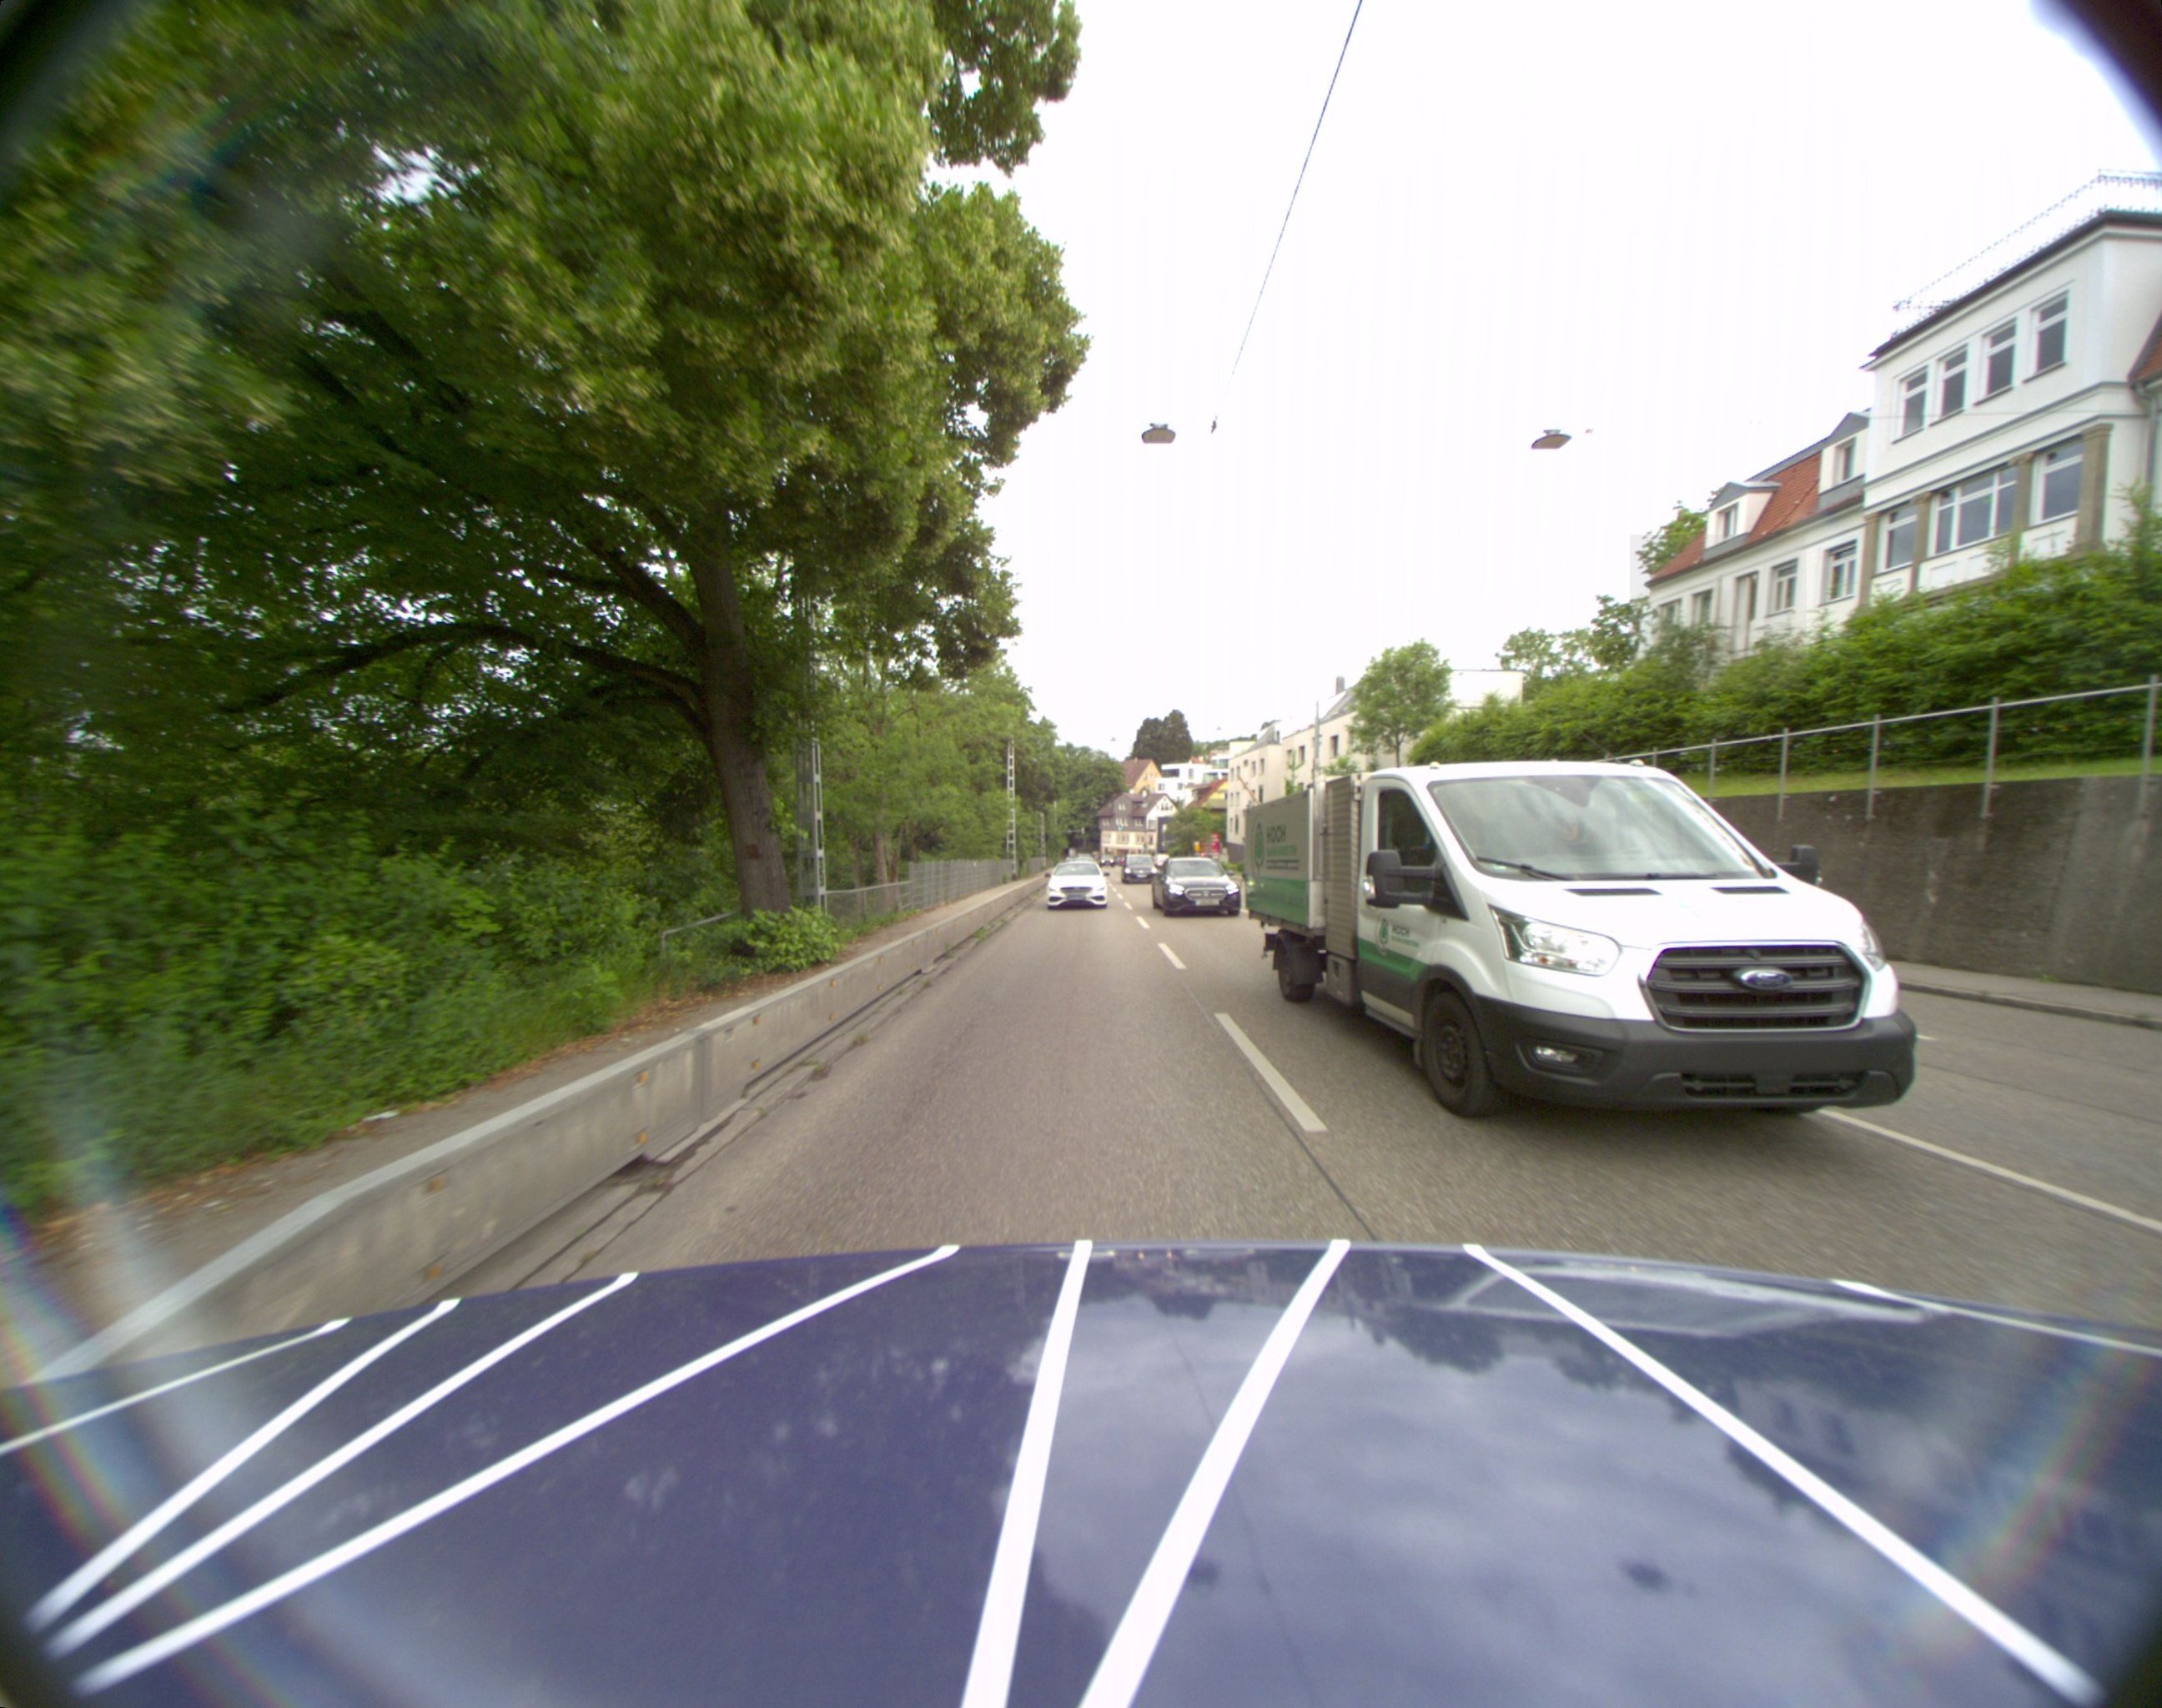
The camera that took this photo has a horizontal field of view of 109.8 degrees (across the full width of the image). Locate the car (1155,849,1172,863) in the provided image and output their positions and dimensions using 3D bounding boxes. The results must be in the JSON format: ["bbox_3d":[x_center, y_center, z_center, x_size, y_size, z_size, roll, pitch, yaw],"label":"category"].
[{"bbox_3d":[9.995,0.250,91.954,1.709,1.702,3.868,0,0,1],"label":"car"}]

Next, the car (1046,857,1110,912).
[{"bbox_3d":[-0.063,0.882,23.702,1.809,1.521,4.000,-1,1,1],"label":"car"}]

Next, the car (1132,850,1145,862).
[{"bbox_3d":[9.038,0.266,120.067,1.743,1.873,3.743,0,0,1],"label":"car"}]

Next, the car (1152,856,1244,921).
[{"bbox_3d":[3.007,0.831,20.356,1.878,1.521,4.335,0,1,1],"label":"car"}]

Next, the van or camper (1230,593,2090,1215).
[{"bbox_3d":[3.122,0.253,6.281,2.349,2.646,5.965,-1,-1,-2],"label":"van or camper"}]

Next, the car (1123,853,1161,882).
[{"bbox_3d":[3.391,0.712,42.896,1.878,1.521,4.000,0,1,1],"label":"car"}]

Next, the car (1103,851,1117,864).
[{"bbox_3d":[3.825,0.461,101.537,1.709,1.702,3.868,0,0,1],"label":"car"}]

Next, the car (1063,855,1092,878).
[{"bbox_3d":[-0.186,0.826,52.324,1.878,1.521,4.000,0,1,1],"label":"car"}]

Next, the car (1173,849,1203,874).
[{"bbox_3d":[8.636,0.576,61.671,1.836,1.831,4.207,2,1,1],"label":"car"}]
